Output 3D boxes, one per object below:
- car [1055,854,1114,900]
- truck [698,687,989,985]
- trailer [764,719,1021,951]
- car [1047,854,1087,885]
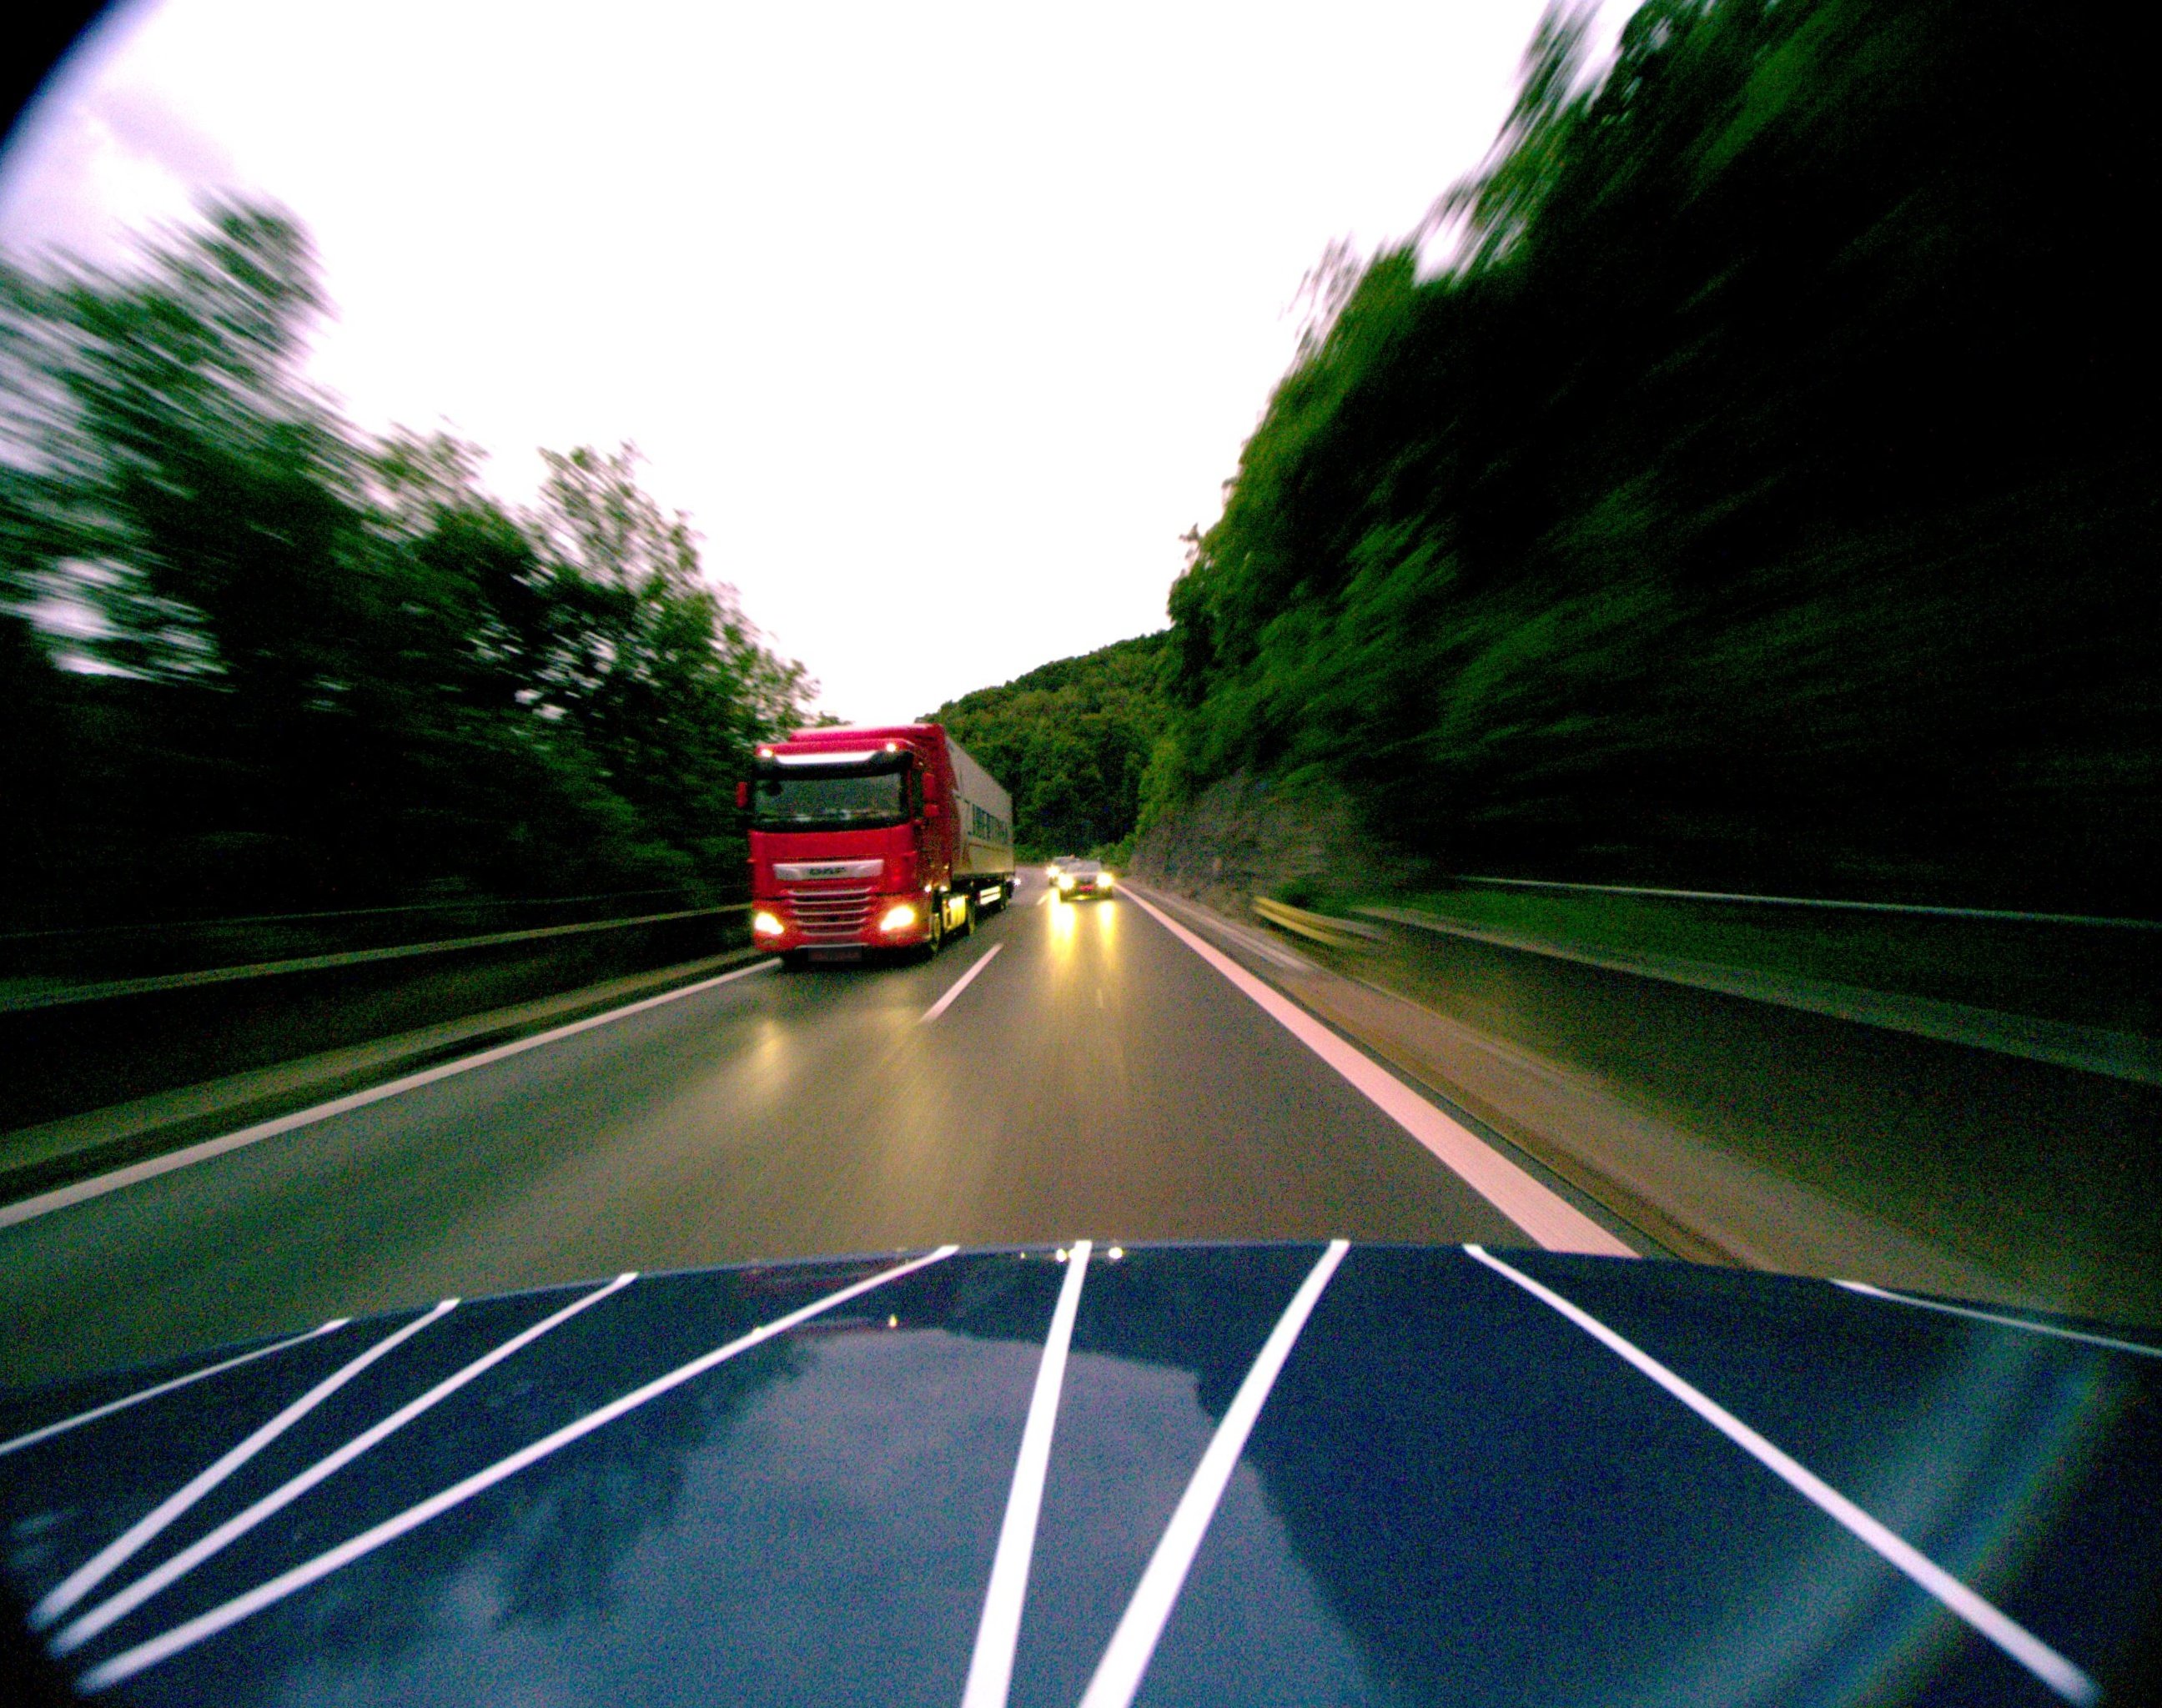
[{"bbox_3d":[0.197,0.818,28.608,1.998,1.499,4.000,-2,1,2],"label":"car"},{"bbox_3d":[-3.772,-0.259,14.053,3.077,4.120,6.446,-3,0,1],"label":"truck"},{"bbox_3d":[-3.811,-0.279,20.213,3.105,3.946,14.218,-1,0,0],"label":"trailer"},{"bbox_3d":[-0.771,0.857,44.138,1.998,1.630,4.000,-2,0,3],"label":"car"}]
